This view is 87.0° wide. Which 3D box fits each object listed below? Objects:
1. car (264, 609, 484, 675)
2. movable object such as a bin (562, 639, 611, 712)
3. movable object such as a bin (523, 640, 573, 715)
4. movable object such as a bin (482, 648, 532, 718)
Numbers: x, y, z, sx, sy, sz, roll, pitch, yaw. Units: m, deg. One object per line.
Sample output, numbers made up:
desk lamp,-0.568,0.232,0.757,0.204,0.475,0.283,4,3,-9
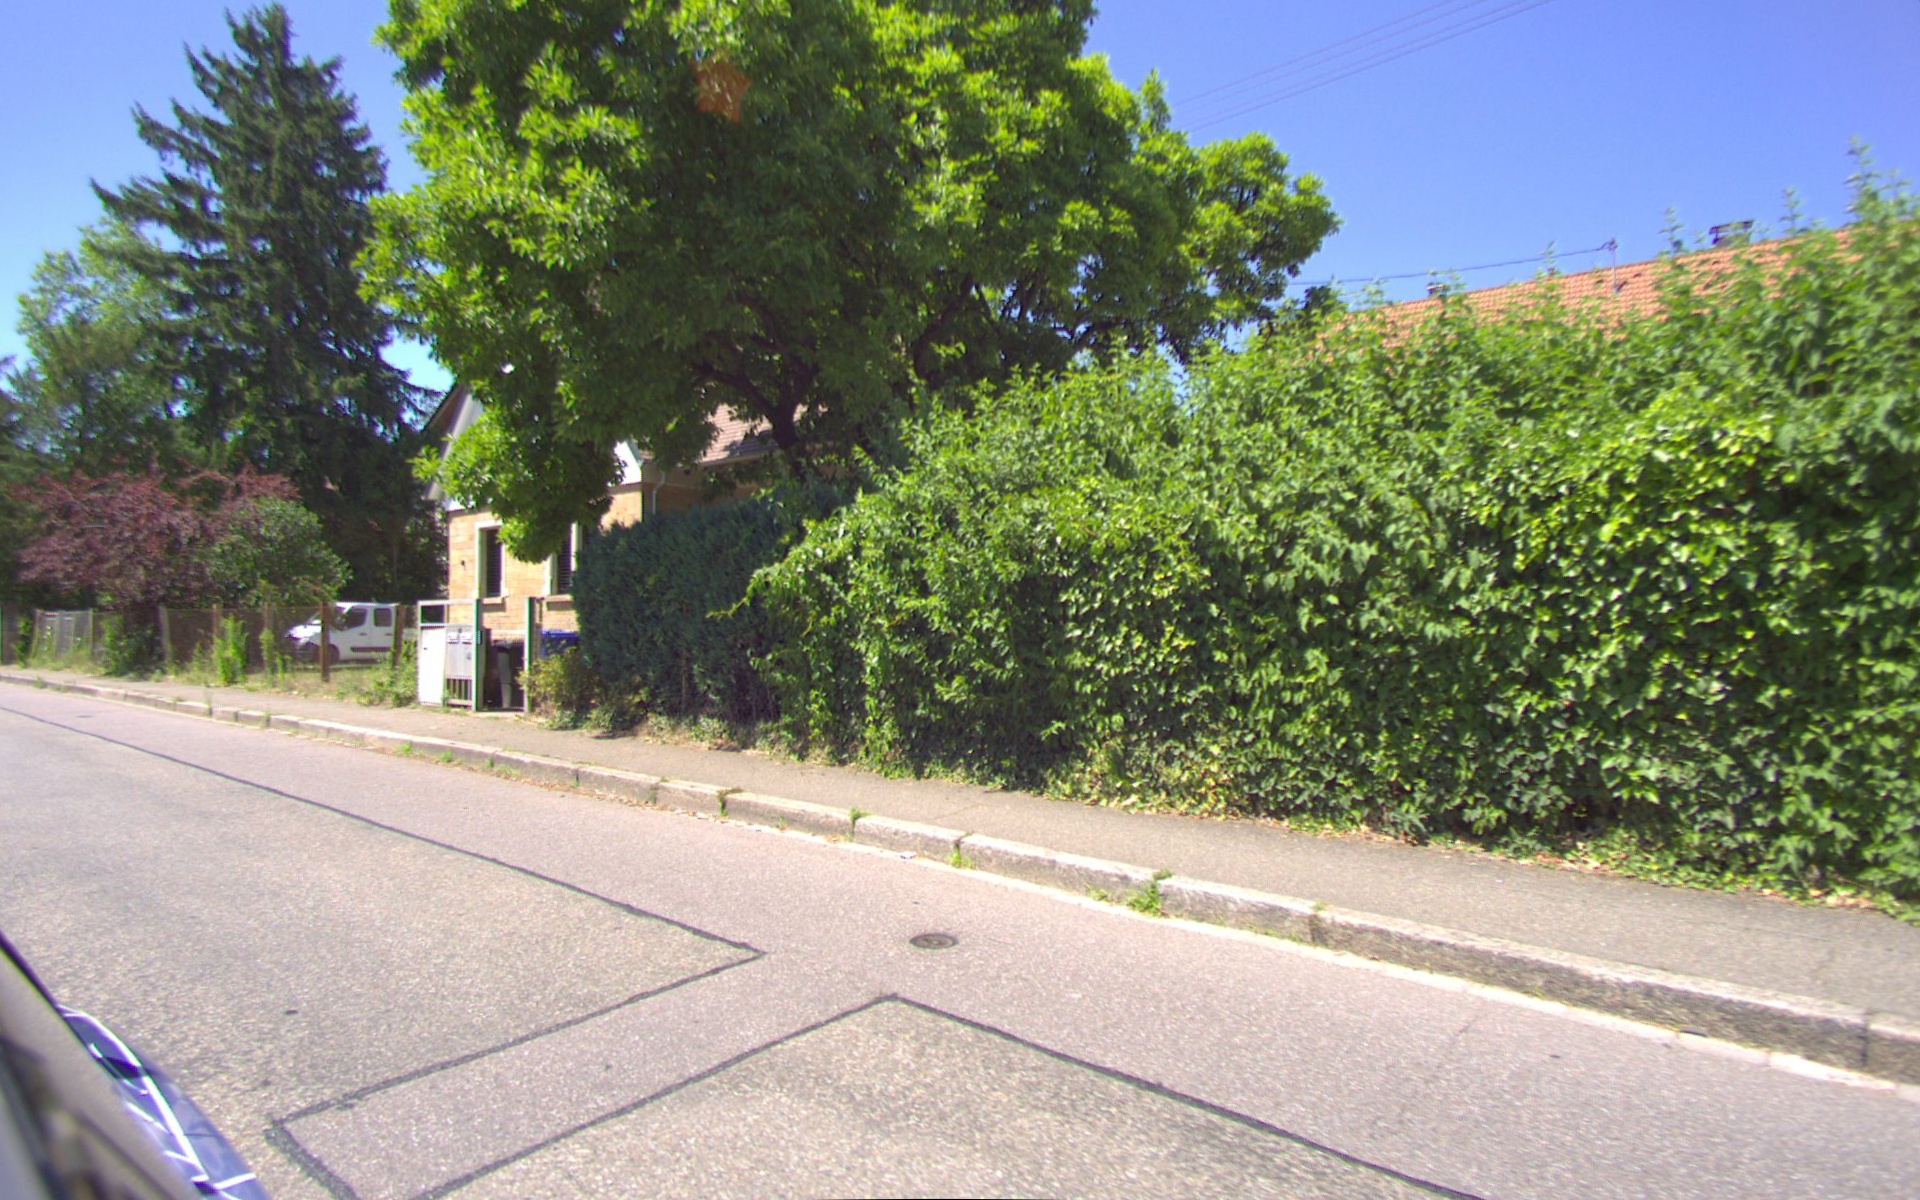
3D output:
car,-21.327,1.602,37.221,2.395,2.188,6.608,-2,-4,32
movable object such as a bin,-5.422,1.079,14.682,0.505,1.017,0.462,-2,-1,37
movable object such as a bin,-5.815,1.080,14.288,0.505,1.017,0.462,-2,-1,37
movable object such as a bin,-6.255,1.132,13.970,0.458,0.916,0.462,-2,-1,37
